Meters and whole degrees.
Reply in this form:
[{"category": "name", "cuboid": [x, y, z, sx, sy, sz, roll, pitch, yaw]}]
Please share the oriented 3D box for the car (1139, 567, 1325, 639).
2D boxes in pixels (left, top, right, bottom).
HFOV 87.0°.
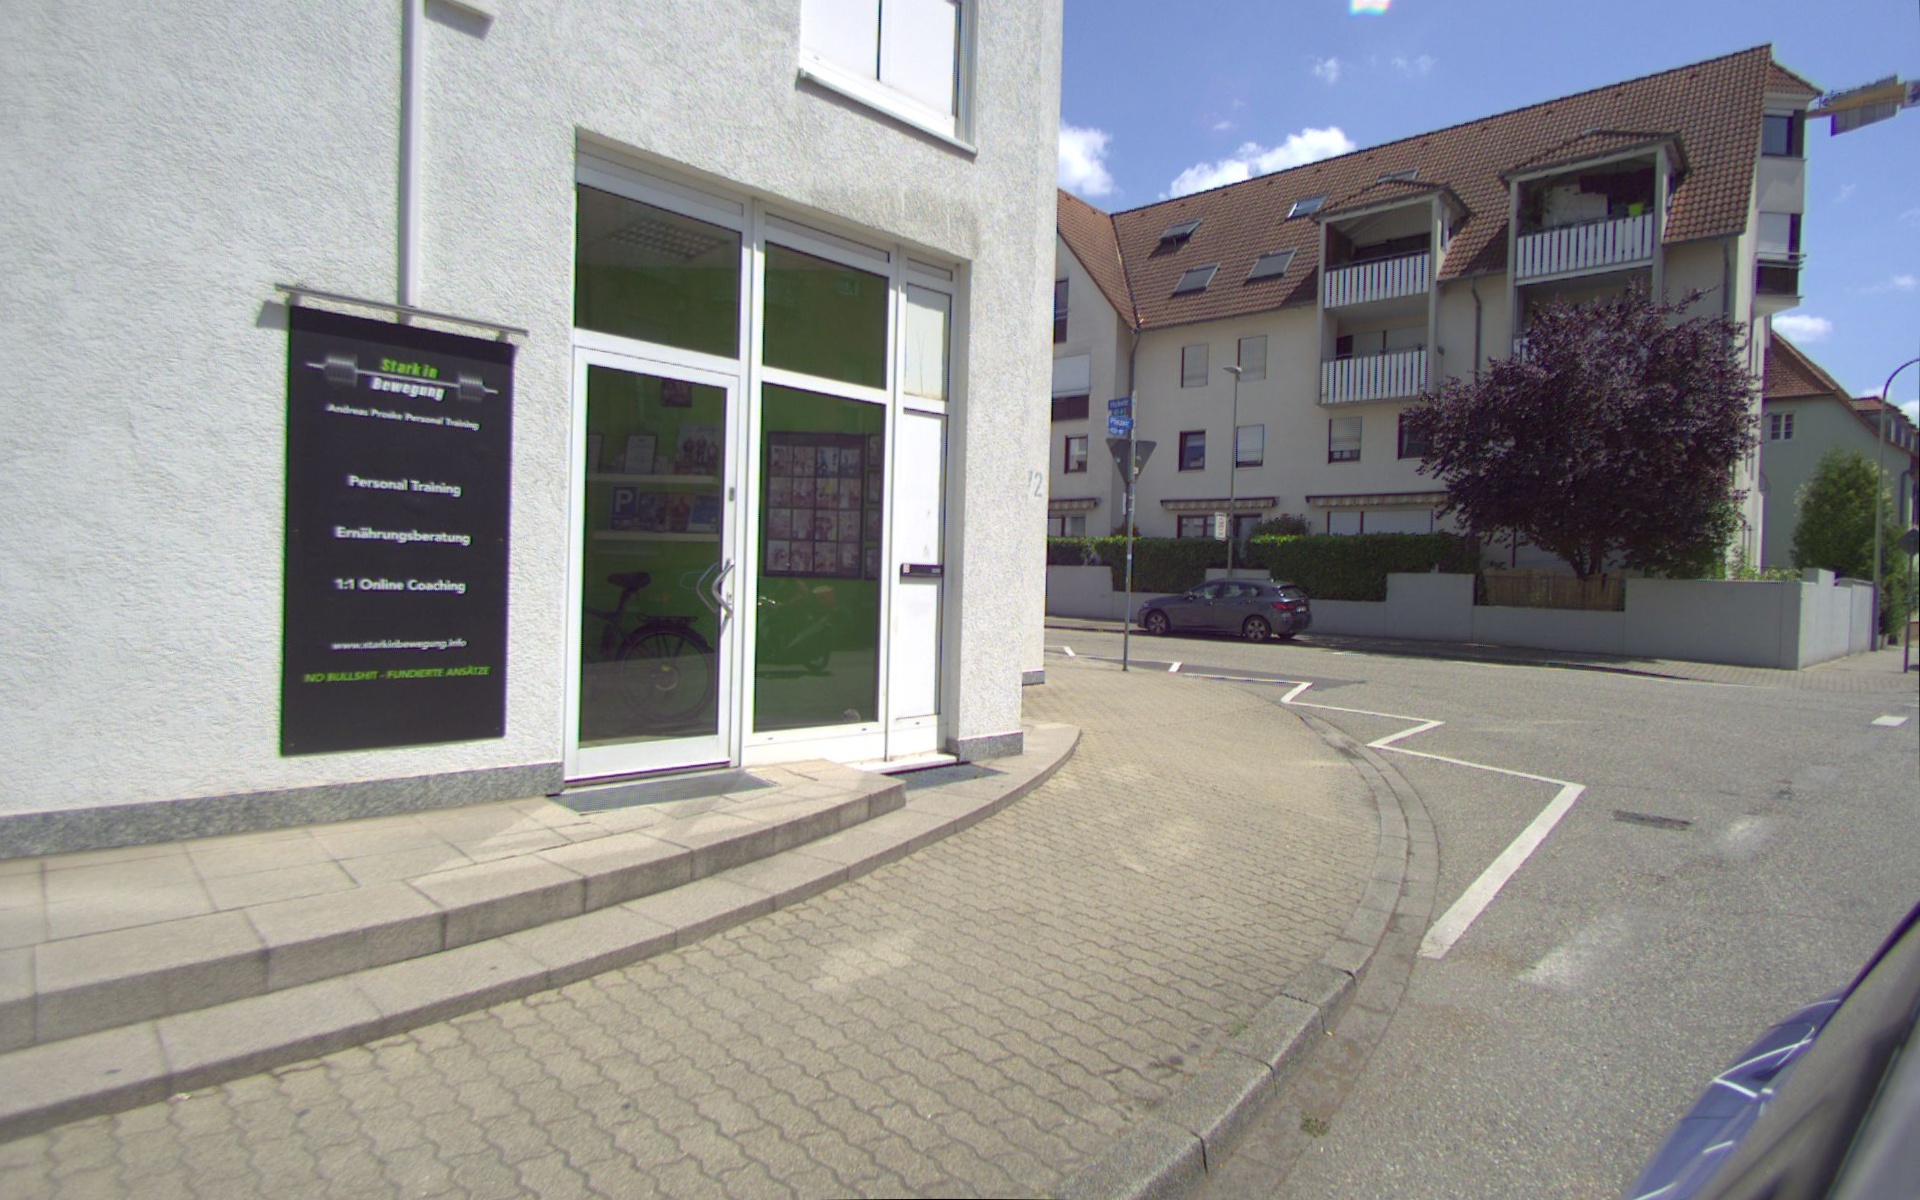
[{"category": "car", "cuboid": [6.510, 0.018, 24.479, 3.987, 1.486, 1.711, 4, 3, 43]}]
